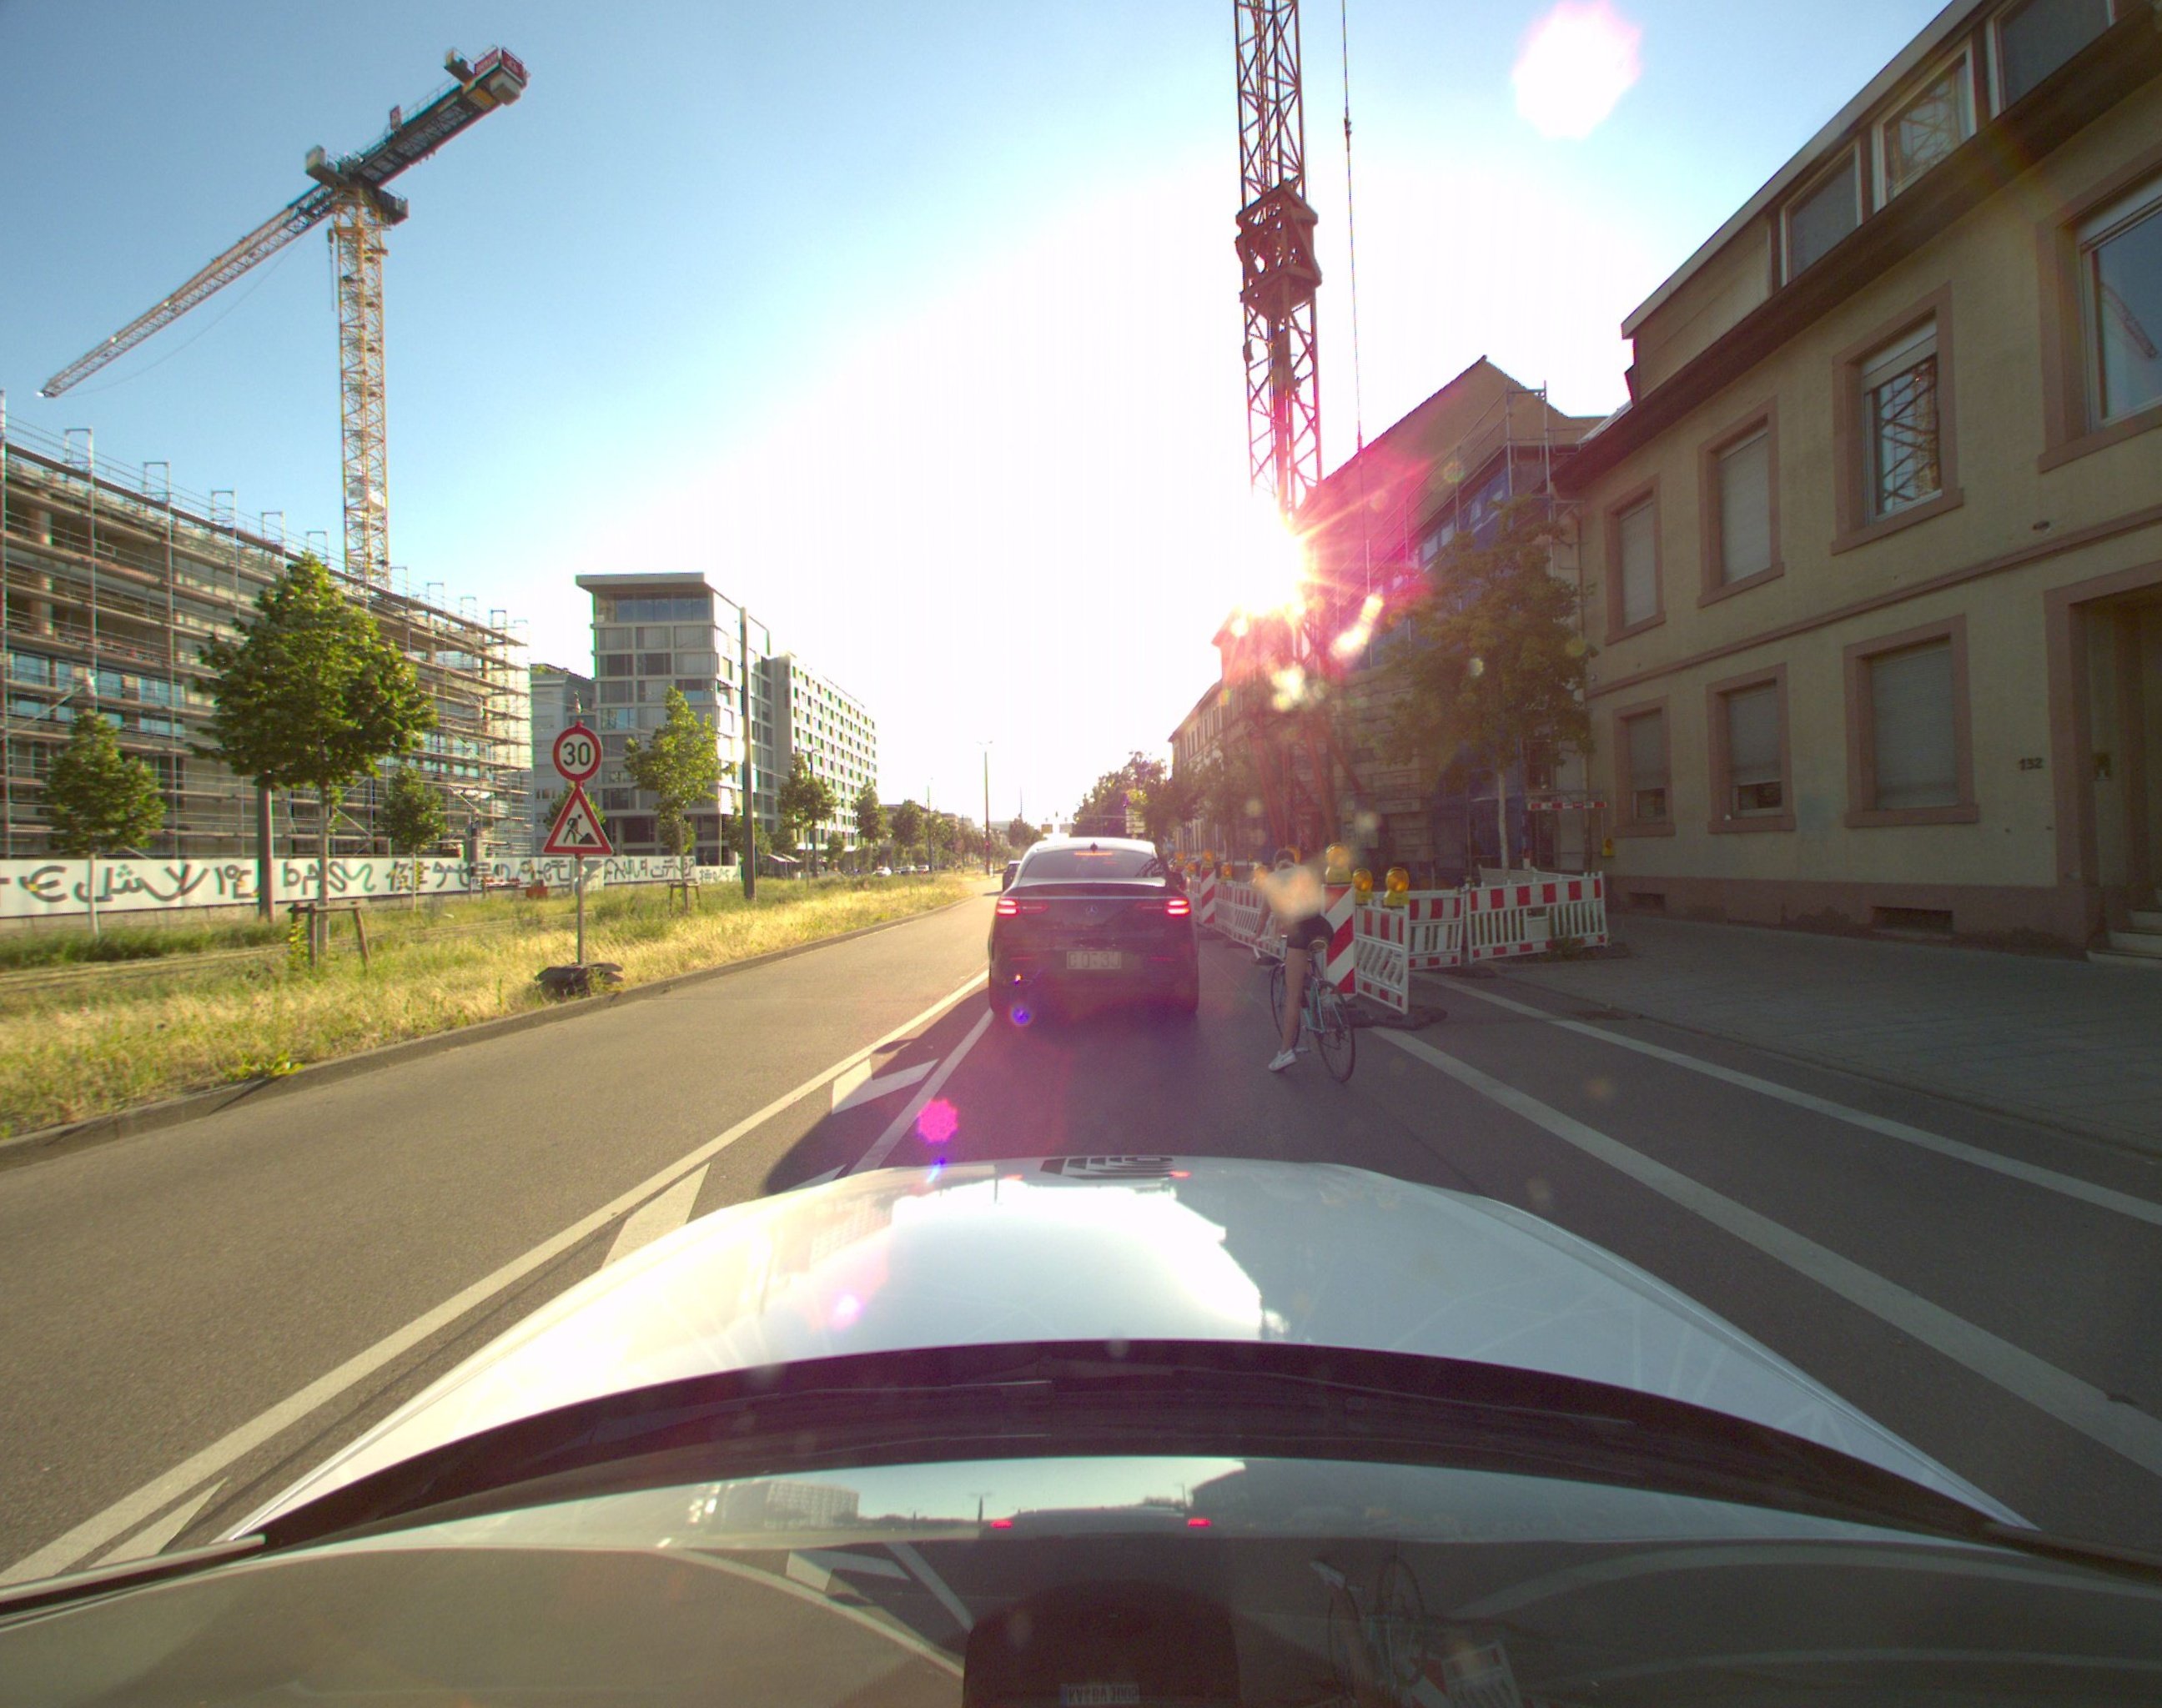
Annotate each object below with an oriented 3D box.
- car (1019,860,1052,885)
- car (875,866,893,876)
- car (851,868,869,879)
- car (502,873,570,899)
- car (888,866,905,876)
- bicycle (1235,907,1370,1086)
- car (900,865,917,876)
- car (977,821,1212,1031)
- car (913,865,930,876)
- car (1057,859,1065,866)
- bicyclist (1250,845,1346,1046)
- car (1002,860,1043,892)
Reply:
[{"bbox_3d":[-2.649,1.070,48.016,1.703,1.442,3.581,0,-1,0],"label":"car"},{"bbox_3d":[-27.543,2.379,113.922,1.703,1.442,3.581,0,-1,0],"label":"car"},{"bbox_3d":[-32.180,2.836,118.521,1.703,1.442,3.581,0,-1,0],"label":"car"},{"bbox_3d":[-32.557,1.897,48.754,1.703,1.442,3.581,0,-1,0],"label":"car"},{"bbox_3d":[-28.122,2.599,124.175,1.703,1.442,3.581,0,-1,0],"label":"car"},{"bbox_3d":[1.590,0.972,6.108,0.511,1.052,1.724,0,-1,-1],"label":"bicycle"},{"bbox_3d":[-25.076,2.397,118.548,1.703,1.442,3.581,0,-1,0],"label":"car"},{"bbox_3d":[0.176,0.630,8.934,1.986,1.772,4.001,0,-1,2],"label":"car"},{"bbox_3d":[-22.676,2.354,115.601,1.703,1.442,3.581,0,-1,0],"label":"car"},{"bbox_3d":[-4.538,1.908,184.030,1.703,1.442,3.581,0,-1,0],"label":"car"},{"bbox_3d":[1.584,0.640,6.011,0.521,1.395,0.614,0,-1,-1],"label":"bicyclist"},{"bbox_3d":[-2.733,1.016,38.551,1.703,1.442,3.581,0,-1,0],"label":"car"}]
